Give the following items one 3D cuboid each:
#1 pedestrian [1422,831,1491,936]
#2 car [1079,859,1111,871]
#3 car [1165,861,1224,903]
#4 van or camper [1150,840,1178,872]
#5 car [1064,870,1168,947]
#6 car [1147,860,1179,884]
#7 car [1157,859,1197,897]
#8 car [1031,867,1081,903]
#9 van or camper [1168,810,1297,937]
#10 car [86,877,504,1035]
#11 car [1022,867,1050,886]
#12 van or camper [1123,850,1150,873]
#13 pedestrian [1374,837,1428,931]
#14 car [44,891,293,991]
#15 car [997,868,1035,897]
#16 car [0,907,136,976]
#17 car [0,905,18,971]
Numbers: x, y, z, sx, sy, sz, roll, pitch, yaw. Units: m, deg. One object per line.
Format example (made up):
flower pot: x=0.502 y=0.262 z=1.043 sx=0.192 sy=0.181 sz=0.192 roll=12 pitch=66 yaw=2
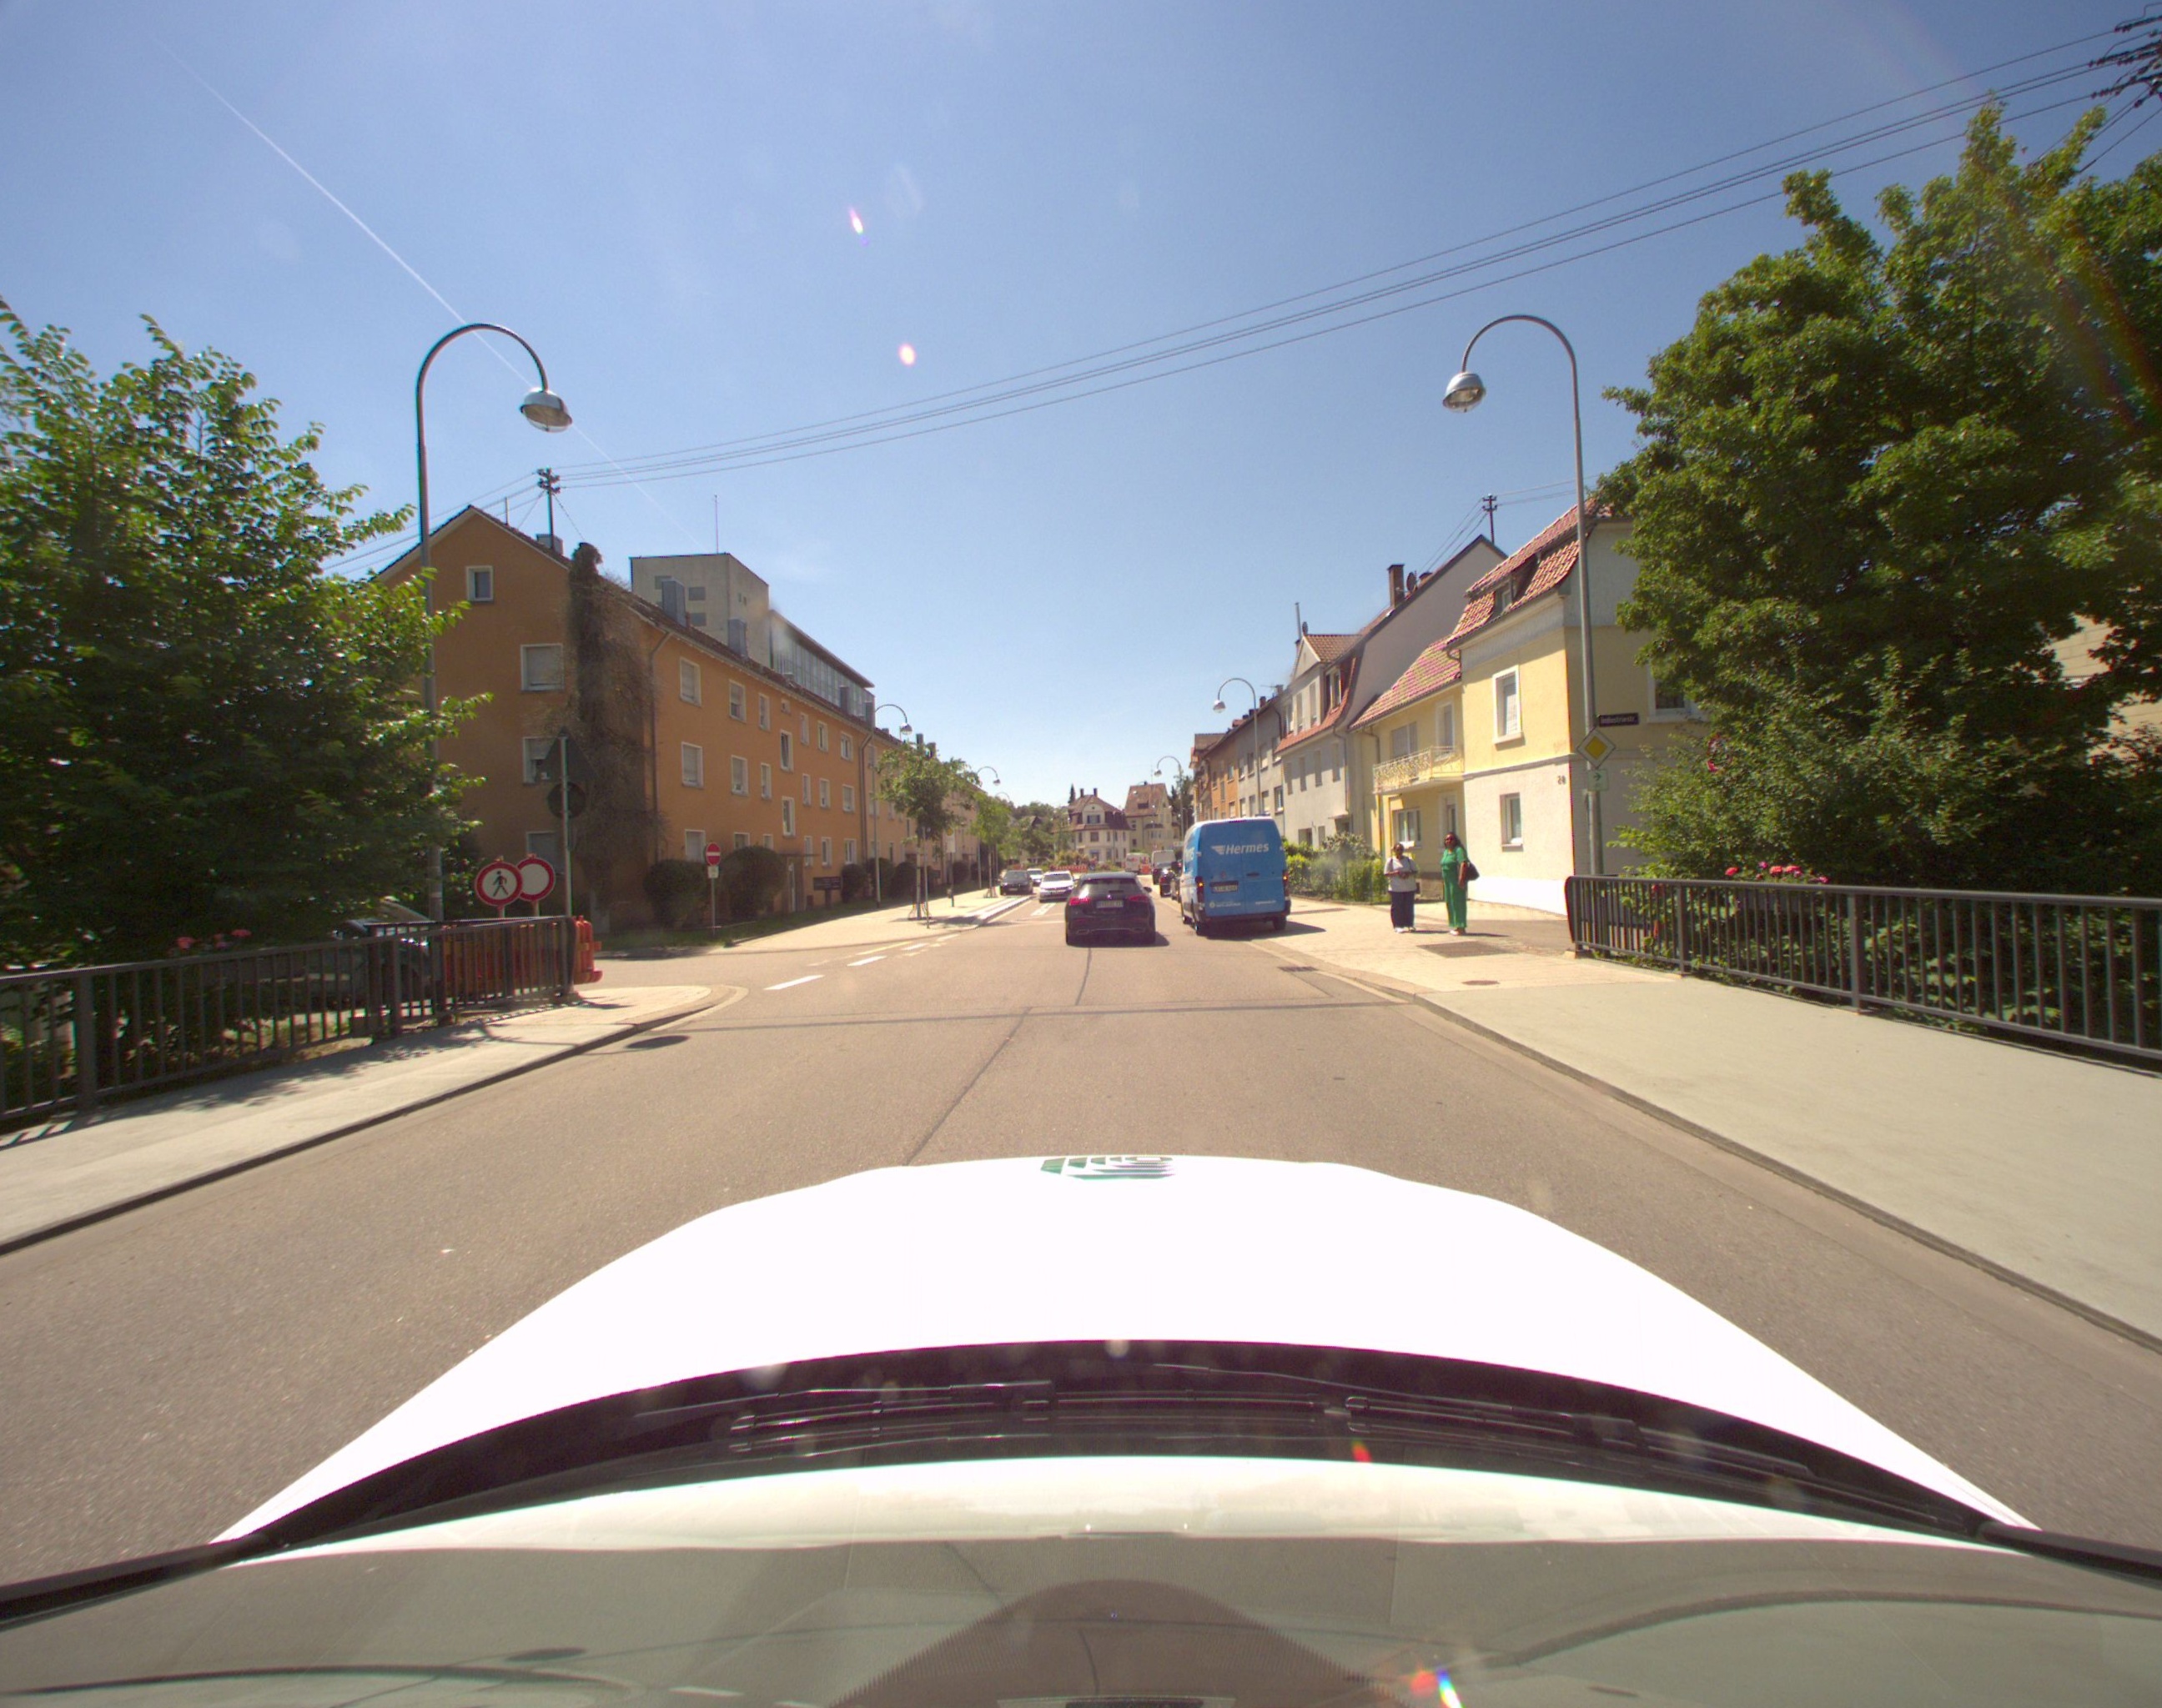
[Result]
pedestrian: x=6.437 y=0.491 z=13.986 sx=0.521 sy=1.706 sz=0.799 roll=-6 pitch=0 yaw=-19
car: x=1.858 y=1.428 z=107.015 sx=3.965 sy=1.486 sz=1.972 roll=0 pitch=0 yaw=7
car: x=4.700 y=1.101 z=34.217 sx=1.797 sy=1.475 sz=4.721 roll=-5 pitch=-1 yaw=1
van or camper: x=7.280 y=0.183 z=71.940 sx=2.156 sy=2.589 sz=5.771 roll=-3 pitch=0 yaw=3
car: x=0.742 y=1.086 z=17.493 sx=1.946 sy=1.427 sz=4.002 roll=-1 pitch=-2 yaw=2
car: x=6.113 y=1.309 z=60.435 sx=1.883 sy=1.607 sz=4.377 roll=-4 pitch=-1 yaw=11
car: x=4.723 y=1.151 z=40.374 sx=1.720 sy=1.633 sz=4.006 roll=-5 pitch=0 yaw=6
car: x=-1.145 y=1.465 z=39.827 sx=1.985 sy=1.507 sz=4.292 roll=-2 pitch=0 yaw=4
van or camper: x=3.452 y=0.458 z=19.905 sx=2.100 sy=2.467 sz=6.180 roll=-4 pitch=-1 yaw=2
car: x=-12.181 y=1.505 z=12.956 sx=4.422 sy=1.874 sz=1.814 roll=-4 pitch=1 yaw=-9
car: x=-3.648 y=1.828 z=66.981 sx=1.987 sy=1.420 sz=4.088 roll=-2 pitch=-1 yaw=0
van or camper: x=6.799 y=0.905 z=98.755 sx=2.187 sy=2.610 sz=4.020 roll=-2 pitch=0 yaw=20
pedestrian: x=5.886 y=0.538 z=14.989 sx=0.635 sy=1.654 sz=0.521 roll=-6 pitch=0 yaw=-1
car: x=-22.302 y=2.090 z=20.015 sx=3.967 sy=2.013 sz=2.003 roll=-4 pitch=0 yaw=5
car: x=-3.955 y=1.719 z=50.271 sx=1.851 sy=1.506 sz=4.562 roll=-2 pitch=0 yaw=0
car: x=-28.771 y=2.392 z=21.933 sx=1.990 sy=1.503 sz=3.994 roll=-3 pitch=1 yaw=-4
car: x=-31.038 y=2.368 z=21.001 sx=1.988 sy=1.816 sz=3.997 roll=-1 pitch=0 yaw=-2
